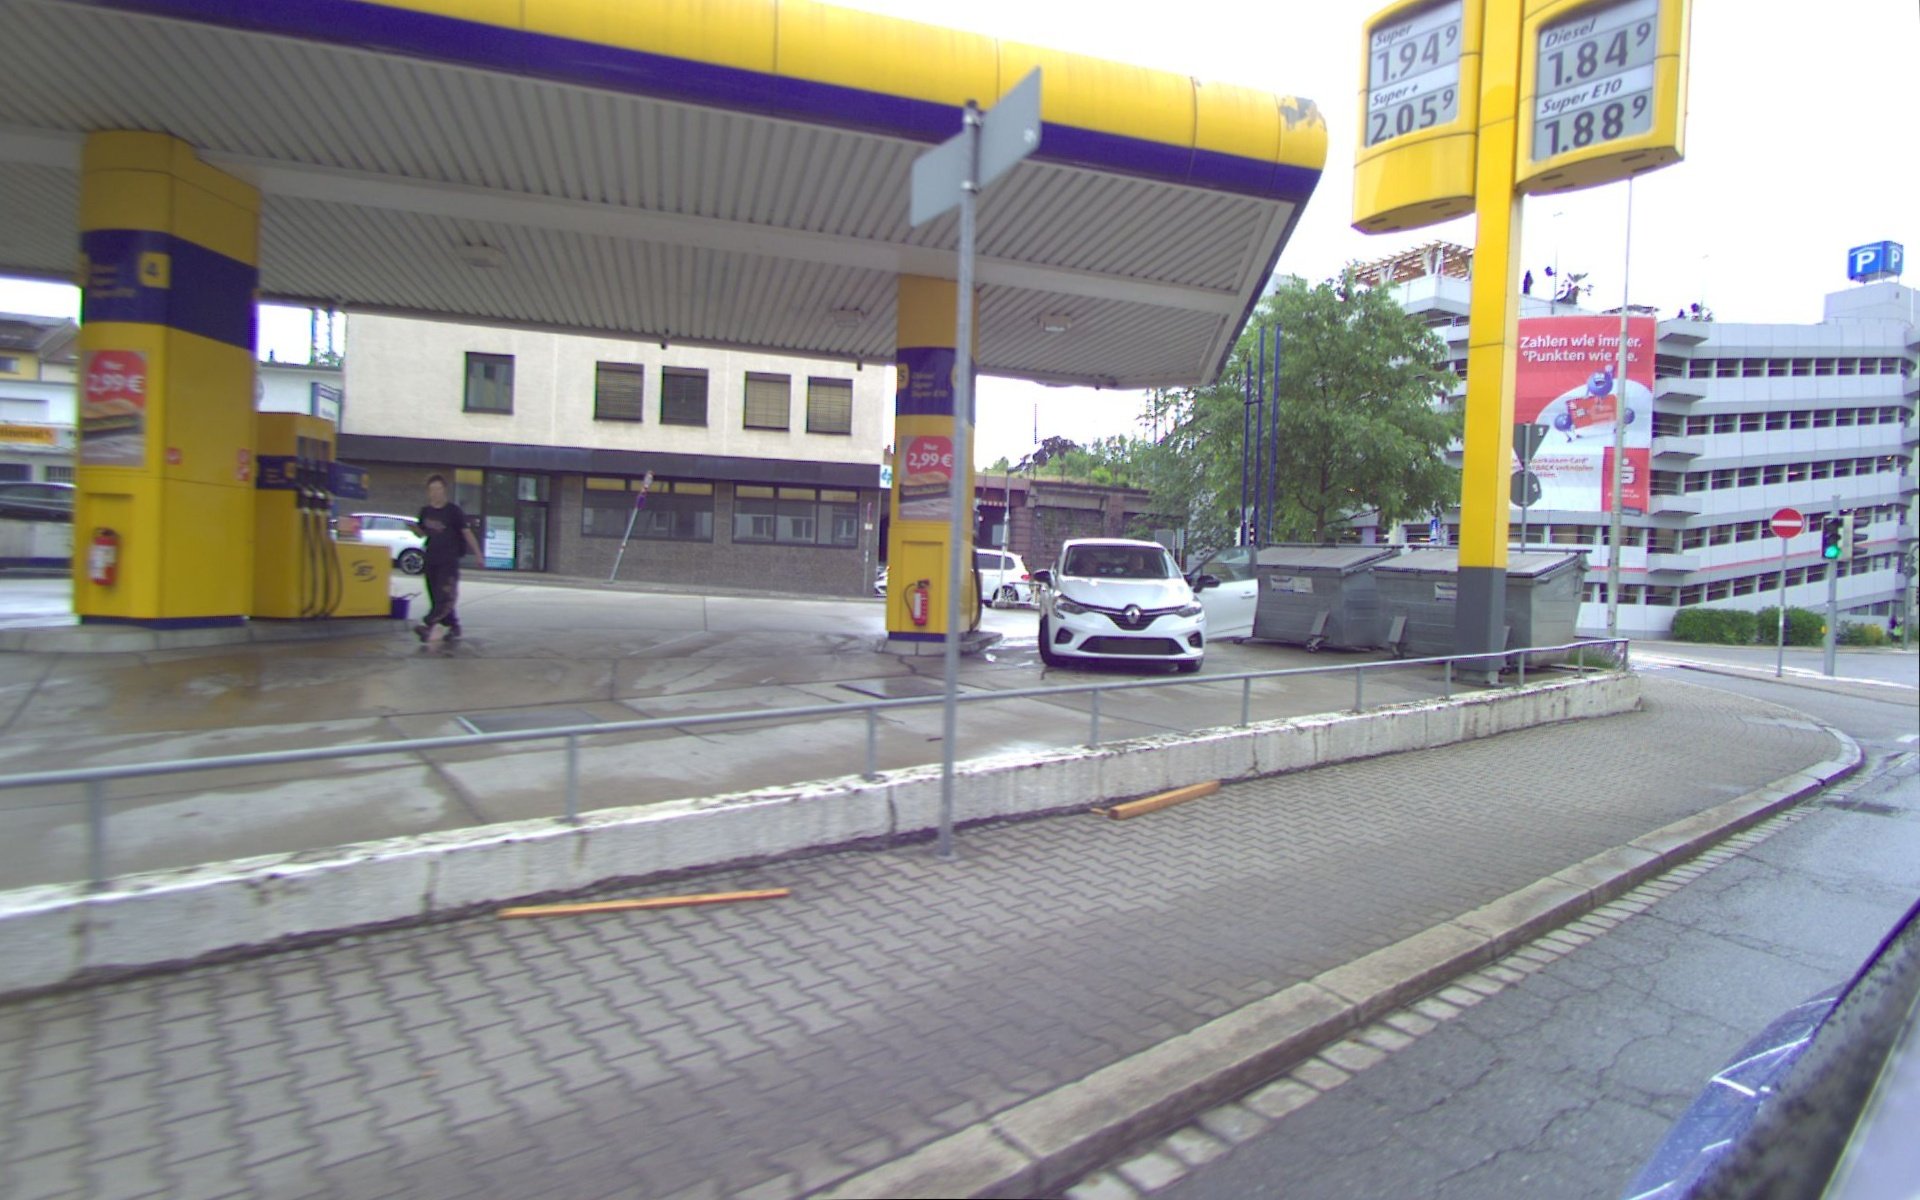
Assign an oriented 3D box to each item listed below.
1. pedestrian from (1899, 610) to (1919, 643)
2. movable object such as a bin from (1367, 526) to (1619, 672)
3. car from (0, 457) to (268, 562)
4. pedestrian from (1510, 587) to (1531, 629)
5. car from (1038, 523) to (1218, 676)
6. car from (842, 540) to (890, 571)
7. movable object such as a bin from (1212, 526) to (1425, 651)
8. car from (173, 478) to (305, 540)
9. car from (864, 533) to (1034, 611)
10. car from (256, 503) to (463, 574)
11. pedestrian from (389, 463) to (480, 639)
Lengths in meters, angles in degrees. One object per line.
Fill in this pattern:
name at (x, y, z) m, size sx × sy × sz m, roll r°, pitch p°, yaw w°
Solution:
pedestrian at (49.115, 1.371, 52.301) m, size 0.508 × 1.679 × 0.586 m, roll 1°, pitch 3°, yaw -22°
movable object such as a bin at (6.484, -0.054, 12.390) m, size 1.740 × 1.594 × 2.162 m, roll 1°, pitch 2°, yaw -38°
car at (-17.181, -1.796, 20.754) m, size 4.485 × 1.888 × 2.003 m, roll 1°, pitch 0°, yaw -10°
pedestrian at (25.846, 0.360, 46.688) m, size 0.536 × 1.913 × 0.506 m, roll 5°, pitch 2°, yaw 11°
car at (1.827, -0.112, 12.077) m, size 1.715 × 1.459 × 3.997 m, roll 2°, pitch 3°, yaw 5°
car at (-6.123, -2.833, 65.416) m, size 1.958 × 1.805 × 4.172 m, roll 1°, pitch 0°, yaw -23°
movable object such as a bin at (4.991, -0.198, 14.175) m, size 1.740 × 1.574 × 2.162 m, roll 1°, pitch 3°, yaw -38°
car at (-23.516, -2.926, 33.219) m, size 1.959 × 1.661 × 4.006 m, roll 1°, pitch 0°, yaw -10°
car at (-0.355, -0.737, 28.047) m, size 4.308 × 1.748 × 2.003 m, roll 4°, pitch -1°, yaw -11°
car at (-15.136, -1.514, 25.752) m, size 4.121 × 1.497 × 1.809 m, roll 2°, pitch -1°, yaw -12°
pedestrian at (-5.571, -0.526, 10.737) m, size 0.649 × 1.792 × 0.529 m, roll 3°, pitch 3°, yaw 9°
